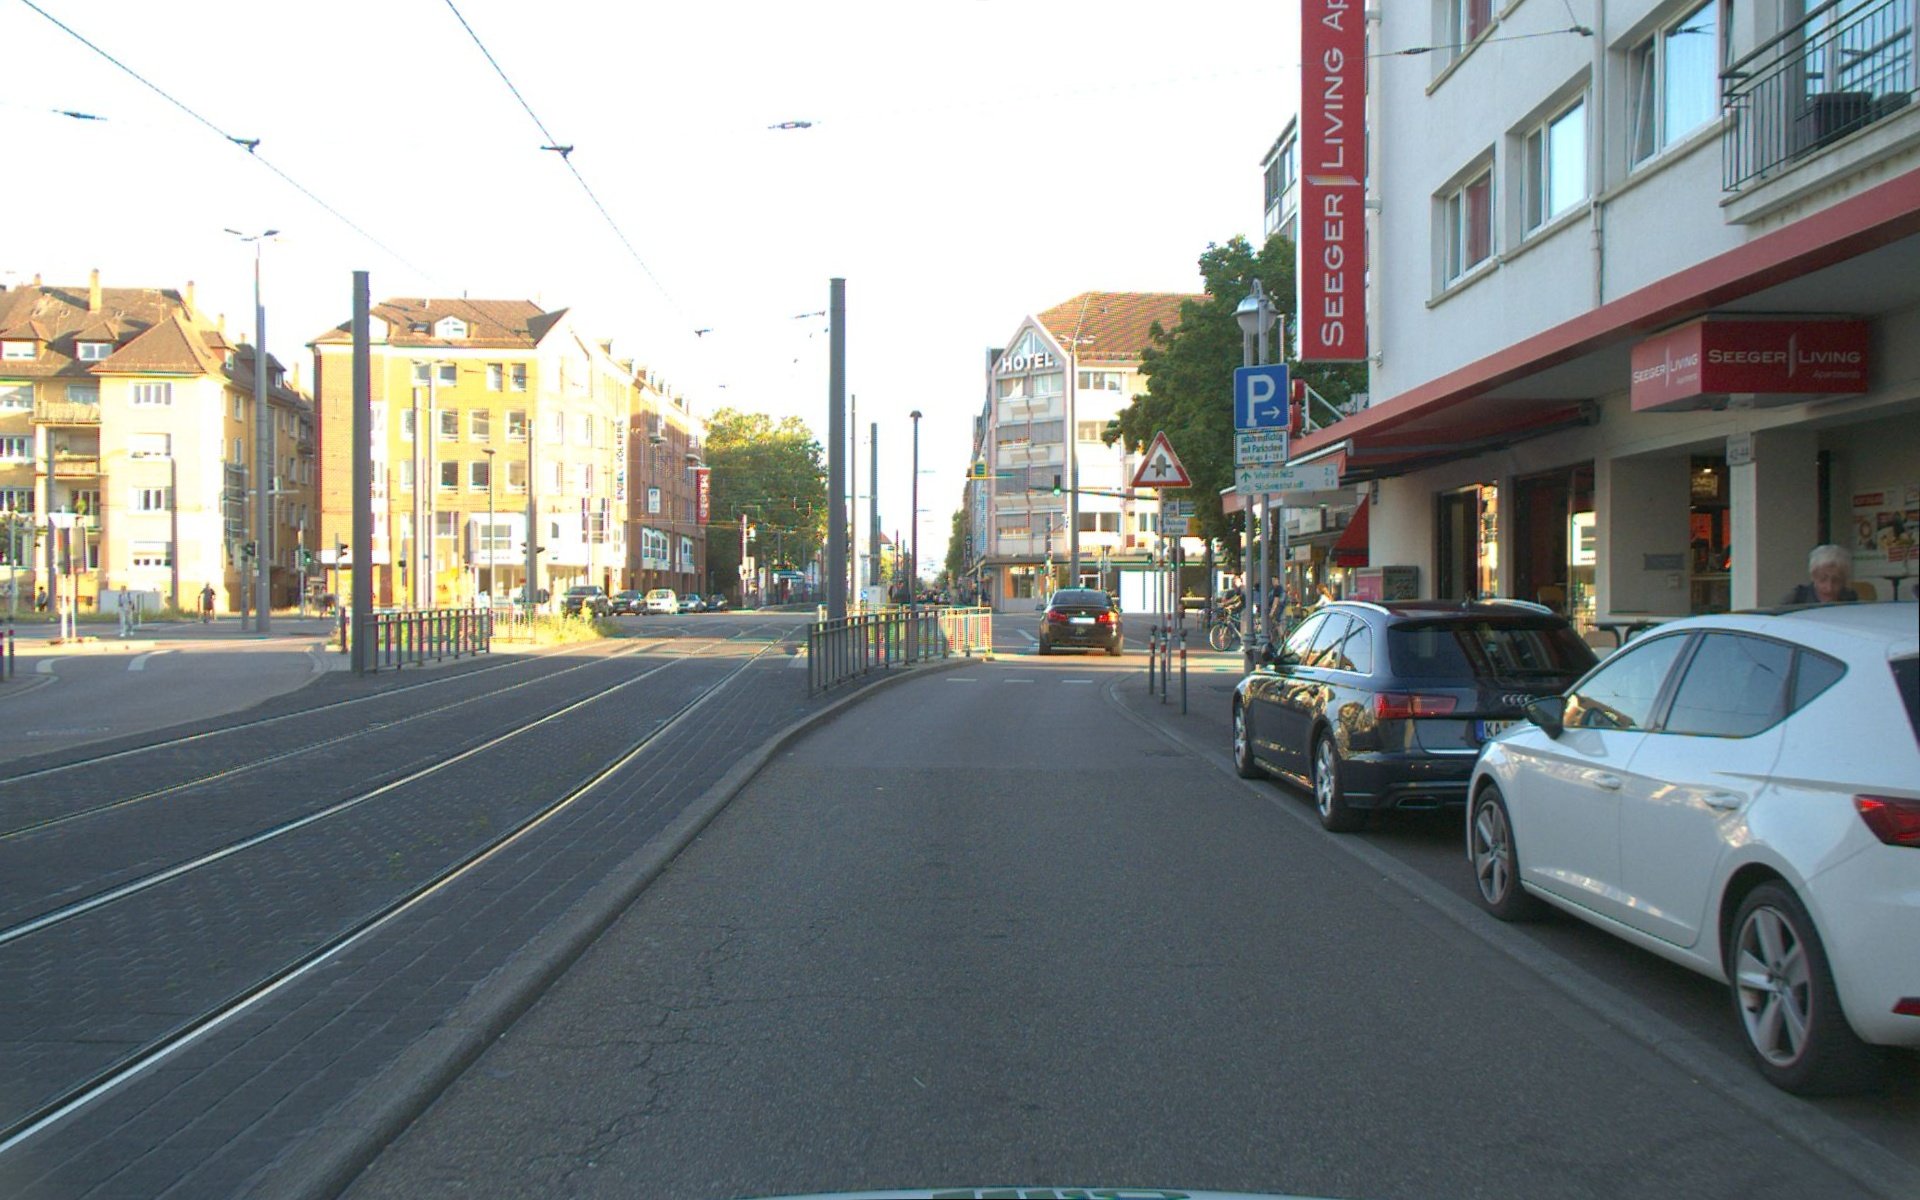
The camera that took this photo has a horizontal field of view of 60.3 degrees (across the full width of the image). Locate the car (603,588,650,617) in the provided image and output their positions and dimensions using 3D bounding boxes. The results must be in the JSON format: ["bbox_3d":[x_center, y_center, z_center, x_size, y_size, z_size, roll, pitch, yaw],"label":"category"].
[{"bbox_3d":[-18.956,0.142,94.112,1.954,1.612,4.584,0,0,-3],"label":"car"}]

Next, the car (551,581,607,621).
[{"bbox_3d":[-19.218,0.026,83.666,1.954,1.934,4.808,0,0,-3],"label":"car"}]

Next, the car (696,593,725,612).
[{"bbox_3d":[-20.890,0.205,138.770,1.954,1.612,4.476,0,0,-3],"label":"car"}]

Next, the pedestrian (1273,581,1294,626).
[{"bbox_3d":[12.141,0.134,62.079,0.708,1.696,0.671,0,0,2],"label":"pedestrian"}]

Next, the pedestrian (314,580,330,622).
[{"bbox_3d":[-29.355,0.031,76.102,0.492,1.900,0.562,2,0,-6],"label":"pedestrian"}]

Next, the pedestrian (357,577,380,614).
[{"bbox_3d":[-30.903,-0.217,86.405,0.923,1.900,0.837,2,0,-10],"label":"pedestrian"}]

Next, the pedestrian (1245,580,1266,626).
[{"bbox_3d":[11.022,0.120,61.691,0.670,1.696,0.671,0,0,2],"label":"pedestrian"}]

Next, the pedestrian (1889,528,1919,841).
[{"bbox_3d":[5.773,0.470,9.169,0.713,1.771,0.863,-2,0,-1],"label":"pedestrian"}]

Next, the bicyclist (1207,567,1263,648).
[{"bbox_3d":[6.728,0.170,40.510,0.832,1.951,1.100,0,0,-38],"label":"bicyclist"}]

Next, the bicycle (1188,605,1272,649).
[{"bbox_3d":[6.625,0.652,40.635,0.832,1.038,2.049,0,0,-38],"label":"bicycle"}]

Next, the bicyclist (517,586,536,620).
[{"bbox_3d":[-22.081,0.137,84.277,0.648,1.718,0.980,0,0,6],"label":"bicyclist"}]

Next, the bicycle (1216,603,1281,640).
[{"bbox_3d":[8.940,0.654,51.279,1.954,1.130,0.669,0,0,12],"label":"bicycle"}]

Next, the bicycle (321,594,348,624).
[{"bbox_3d":[-28.831,0.394,76.290,0.606,1.348,2.014,2,0,-5],"label":"bicycle"}]

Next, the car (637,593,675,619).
[{"bbox_3d":[-19.550,0.377,106.508,1.954,1.612,4.110,0,0,-3],"label":"car"}]

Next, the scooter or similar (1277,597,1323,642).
[{"bbox_3d":[9.627,0.538,46.848,1.255,1.256,0.336,0,0,42],"label":"scooter or similar"}]

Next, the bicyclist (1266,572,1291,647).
[{"bbox_3d":[7.999,0.231,41.576,0.456,1.862,0.558,0,0,-9],"label":"bicyclist"}]

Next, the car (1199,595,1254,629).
[{"bbox_3d":[12.722,0.545,79.172,1.953,1.579,4.000,0,0,-1],"label":"car"}]

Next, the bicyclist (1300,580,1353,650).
[{"bbox_3d":[8.732,0.349,39.402,1.089,1.651,0.840,0,0,23],"label":"bicyclist"}]

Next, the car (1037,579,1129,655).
[{"bbox_3d":[2.781,0.352,37.503,1.951,1.612,4.002,-1,0,4],"label":"car"}]

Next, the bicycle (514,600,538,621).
[{"bbox_3d":[-22.087,0.520,84.149,0.652,1.026,1.624,0,0,6],"label":"bicycle"}]

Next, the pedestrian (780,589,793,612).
[{"bbox_3d":[-15.250,0.032,145.461,0.968,2.049,0.725,1,0,-2],"label":"pedestrian"}]

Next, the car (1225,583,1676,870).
[{"bbox_3d":[3.103,0.689,11.536,1.700,1.538,4.685,-2,0,0],"label":"car"}]

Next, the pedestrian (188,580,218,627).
[{"bbox_3d":[-32.505,0.153,71.039,1.080,1.978,1.019,0,0,-20],"label":"pedestrian"}]

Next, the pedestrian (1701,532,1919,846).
[{"bbox_3d":[4.987,0.497,9.759,0.810,1.748,0.843,-2,0,-1],"label":"pedestrian"}]

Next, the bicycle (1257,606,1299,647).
[{"bbox_3d":[7.988,0.667,41.634,0.456,0.987,1.797,0,0,-9],"label":"bicycle"}]

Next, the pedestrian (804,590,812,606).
[{"bbox_3d":[-15.642,-0.202,170.359,0.708,1.710,0.991,0,0,1],"label":"pedestrian"}]

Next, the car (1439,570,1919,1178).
[{"bbox_3d":[3.295,0.670,6.246,1.749,1.538,4.051,-2,0,0],"label":"car"}]

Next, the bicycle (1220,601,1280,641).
[{"bbox_3d":[9.162,0.655,52.235,1.863,1.257,0.669,0,0,10],"label":"bicycle"}]

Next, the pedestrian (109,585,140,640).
[{"bbox_3d":[-29.439,0.423,58.256,0.870,1.900,0.970,0,0,-22],"label":"pedestrian"}]

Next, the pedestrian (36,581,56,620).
[{"bbox_3d":[-44.275,0.030,80.140,0.708,1.900,0.880,0,0,-21],"label":"pedestrian"}]

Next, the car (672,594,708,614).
[{"bbox_3d":[-20.426,0.278,125.302,1.634,1.473,4.205,0,0,6],"label":"car"}]

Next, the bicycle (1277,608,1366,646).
[{"bbox_3d":[8.630,0.631,39.447,1.965,0.896,0.840,0,0,23],"label":"bicycle"}]
